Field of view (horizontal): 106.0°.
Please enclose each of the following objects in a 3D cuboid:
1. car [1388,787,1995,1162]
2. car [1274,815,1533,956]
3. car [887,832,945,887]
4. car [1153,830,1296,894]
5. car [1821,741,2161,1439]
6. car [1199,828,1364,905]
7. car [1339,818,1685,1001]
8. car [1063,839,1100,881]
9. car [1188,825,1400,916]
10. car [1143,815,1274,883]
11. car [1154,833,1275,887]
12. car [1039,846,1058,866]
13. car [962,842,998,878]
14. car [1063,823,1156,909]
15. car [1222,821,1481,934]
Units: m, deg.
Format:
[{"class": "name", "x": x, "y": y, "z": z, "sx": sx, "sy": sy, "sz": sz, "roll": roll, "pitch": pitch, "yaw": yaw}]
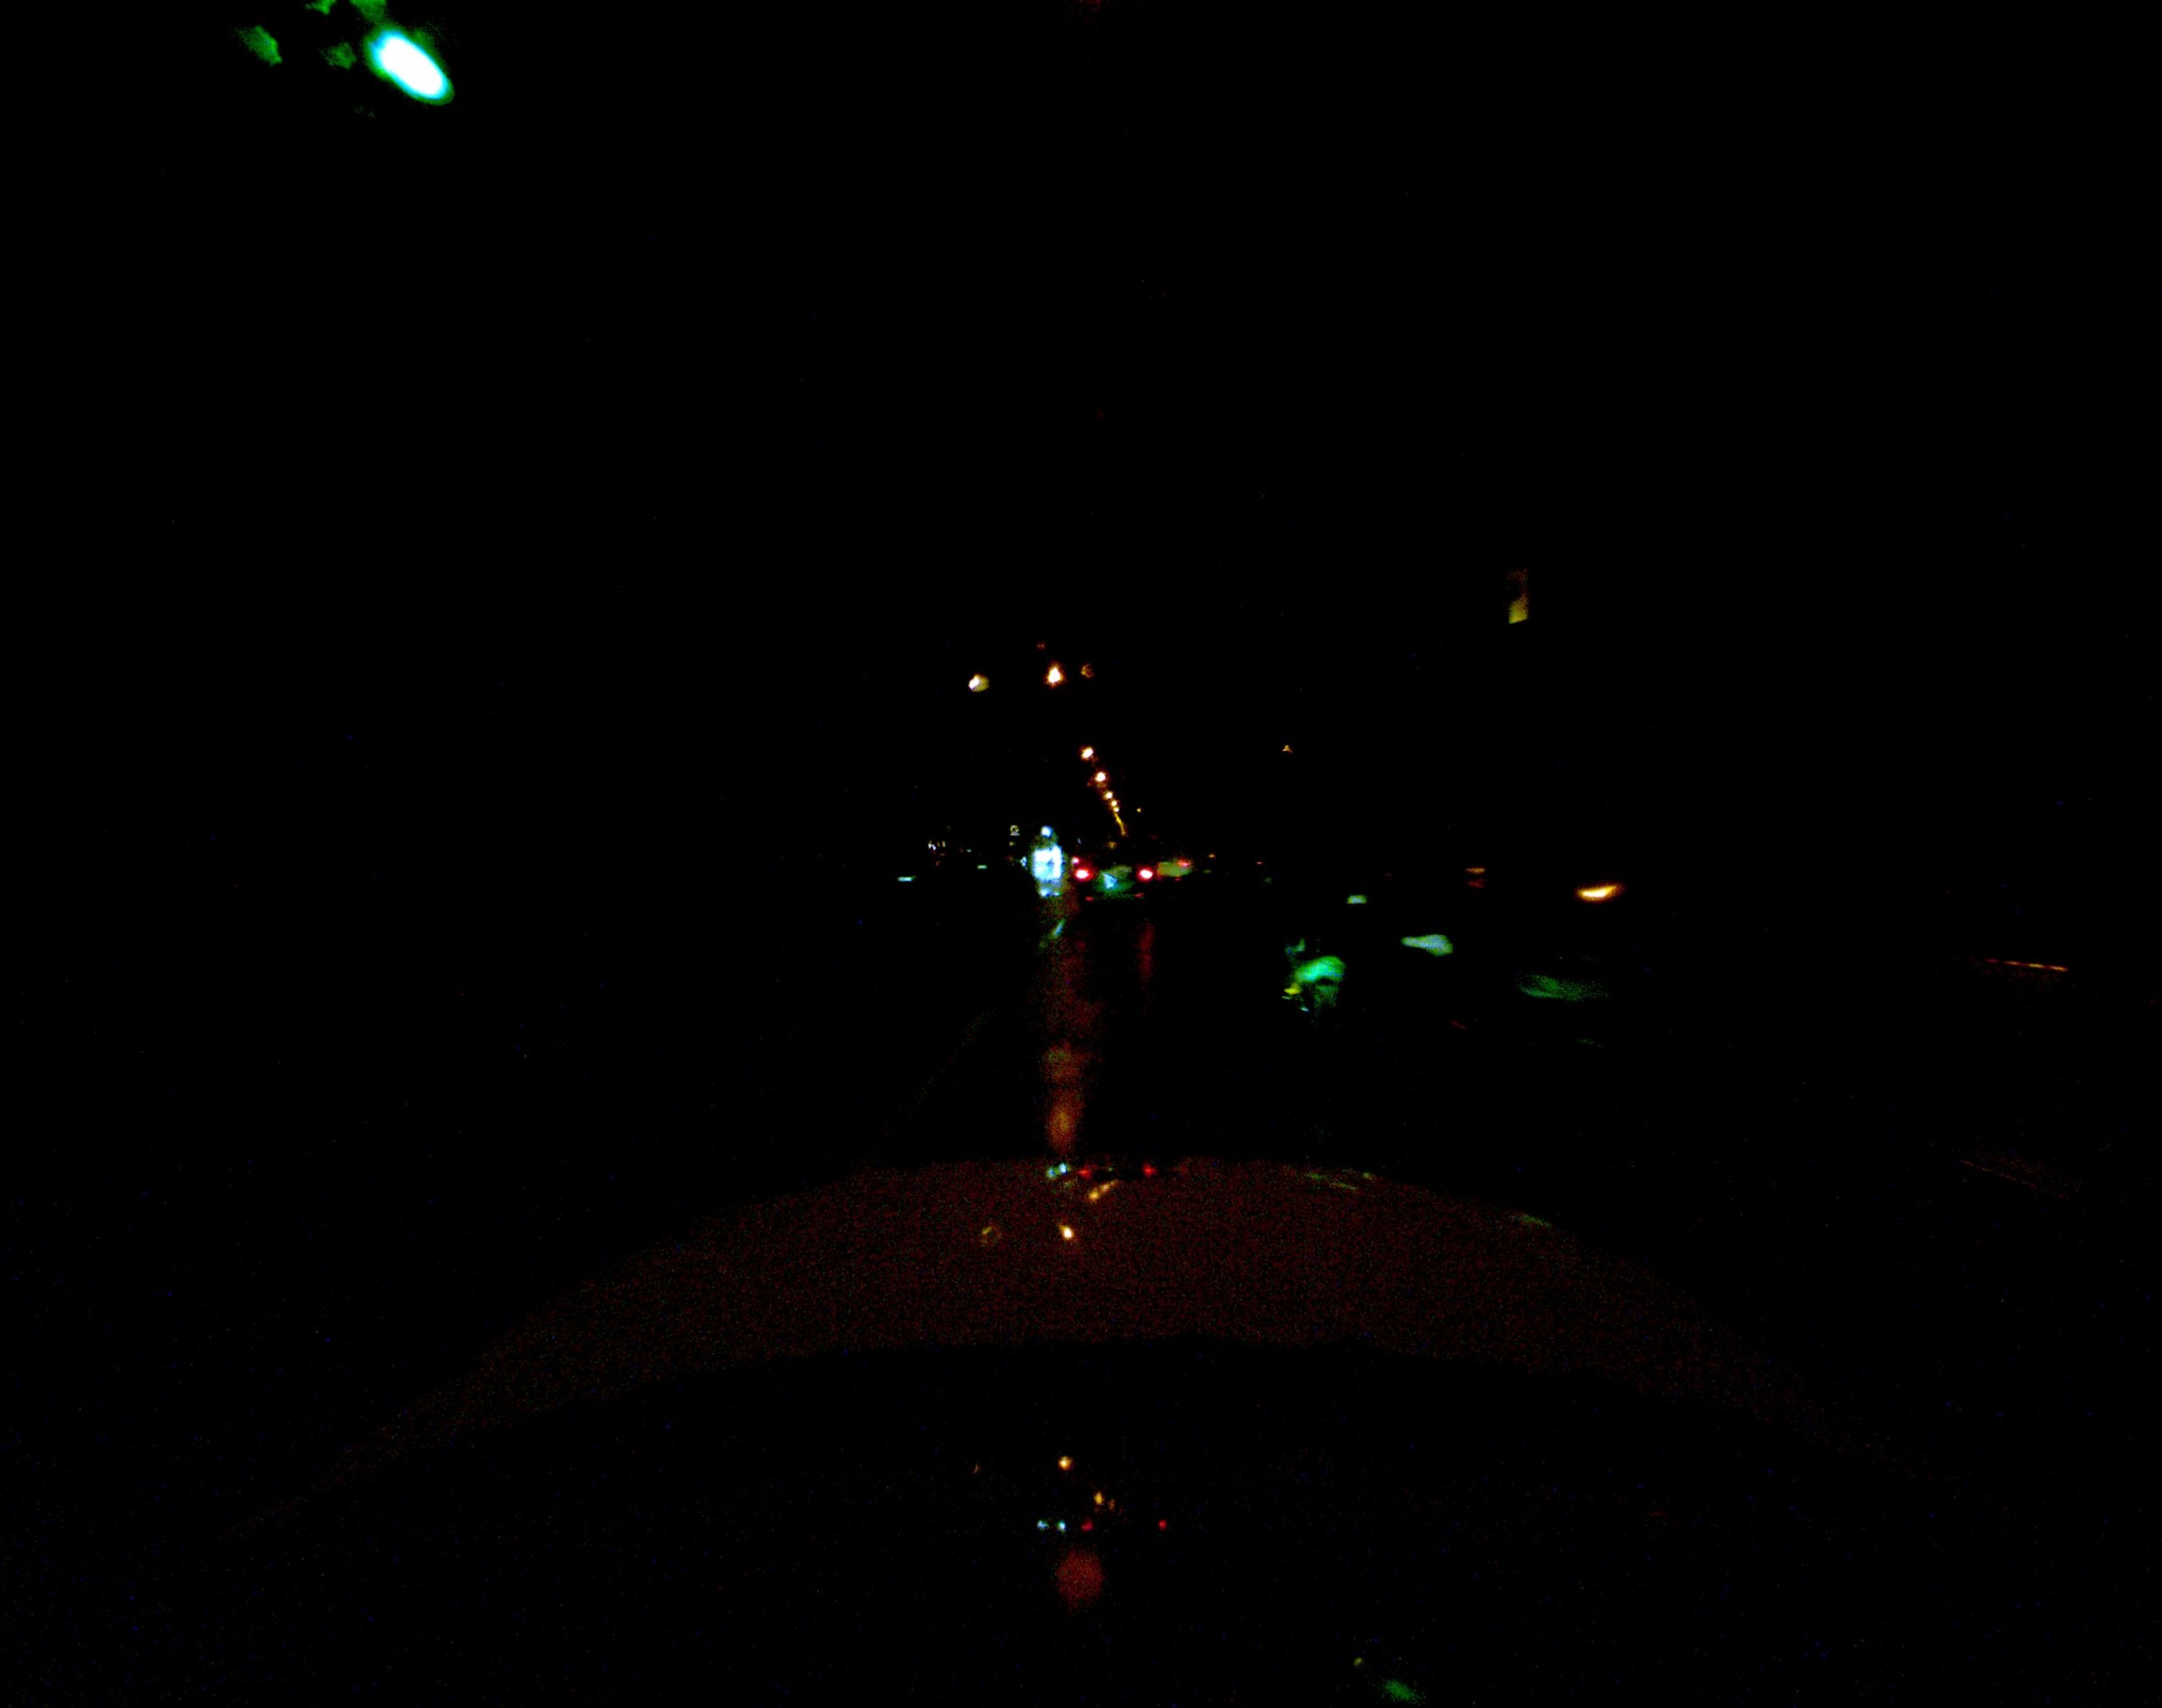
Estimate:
[{"class": "car", "x": 4.181, "y": 0.456, "z": 5.405, "sx": 4.199, "sy": 1.590, "sz": 1.714, "roll": -4, "pitch": 1, "yaw": -31}, {"class": "car", "x": 4.890, "y": 0.341, "z": 12.065, "sx": 4.207, "sy": 1.645, "sz": 1.643, "roll": -4, "pitch": 1, "yaw": -39}, {"class": "car", "x": -6.535, "y": 0.189, "z": 31.907, "sx": 1.994, "sy": 1.972, "sz": 4.281, "roll": -2, "pitch": 0, "yaw": -14}, {"class": "car", "x": 4.399, "y": 0.197, "z": 24.738, "sx": 4.204, "sy": 1.645, "sz": 1.751, "roll": -4, "pitch": 1, "yaw": -35}, {"class": "car", "x": 4.345, "y": 0.413, "z": 2.719, "sx": 4.204, "sy": 1.576, "sz": 1.862, "roll": -4, "pitch": 1, "yaw": -35}, {"class": "car", "x": 5.201, "y": 0.264, "z": 20.925, "sx": 4.204, "sy": 1.645, "sz": 1.751, "roll": -4, "pitch": 1, "yaw": -35}, {"class": "car", "x": 4.887, "y": 0.444, "z": 9.008, "sx": 4.204, "sy": 1.475, "sz": 1.644, "roll": -4, "pitch": 1, "yaw": -36}, {"class": "car", "x": 0.016, "y": 0.263, "z": 40.917, "sx": 1.719, "sy": 1.972, "sz": 4.220, "roll": -1, "pitch": 0, "yaw": 0}, {"class": "car", "x": 4.665, "y": 0.303, "z": 17.928, "sx": 4.184, "sy": 1.645, "sz": 1.759, "roll": -4, "pitch": 1, "yaw": -18}, {"class": "car", "x": 5.164, "y": -0.227, "z": 32.648, "sx": 5.032, "sy": 2.391, "sz": 2.116, "roll": -4, "pitch": 1, "yaw": -35}, {"class": "car", "x": 4.810, "y": 0.181, "z": 29.210, "sx": 4.204, "sy": 1.645, "sz": 1.751, "roll": -4, "pitch": 1, "yaw": -35}, {"class": "car", "x": -3.259, "y": 0.152, "z": 82.461, "sx": 1.719, "sy": 1.972, "sz": 4.220, "roll": -1, "pitch": 0, "yaw": 0}, {"class": "car", "x": -5.845, "y": 0.308, "z": 46.772, "sx": 1.725, "sy": 1.972, "sz": 3.713, "roll": -1, "pitch": 0, "yaw": -11}, {"class": "car", "x": 0.799, "y": 0.273, "z": 21.646, "sx": 2.159, "sy": 1.972, "sz": 4.306, "roll": -2, "pitch": 0, "yaw": 3}, {"class": "car", "x": 4.871, "y": 0.354, "z": 14.762, "sx": 4.184, "sy": 1.645, "sz": 1.759, "roll": -4, "pitch": 1, "yaw": -18}]
